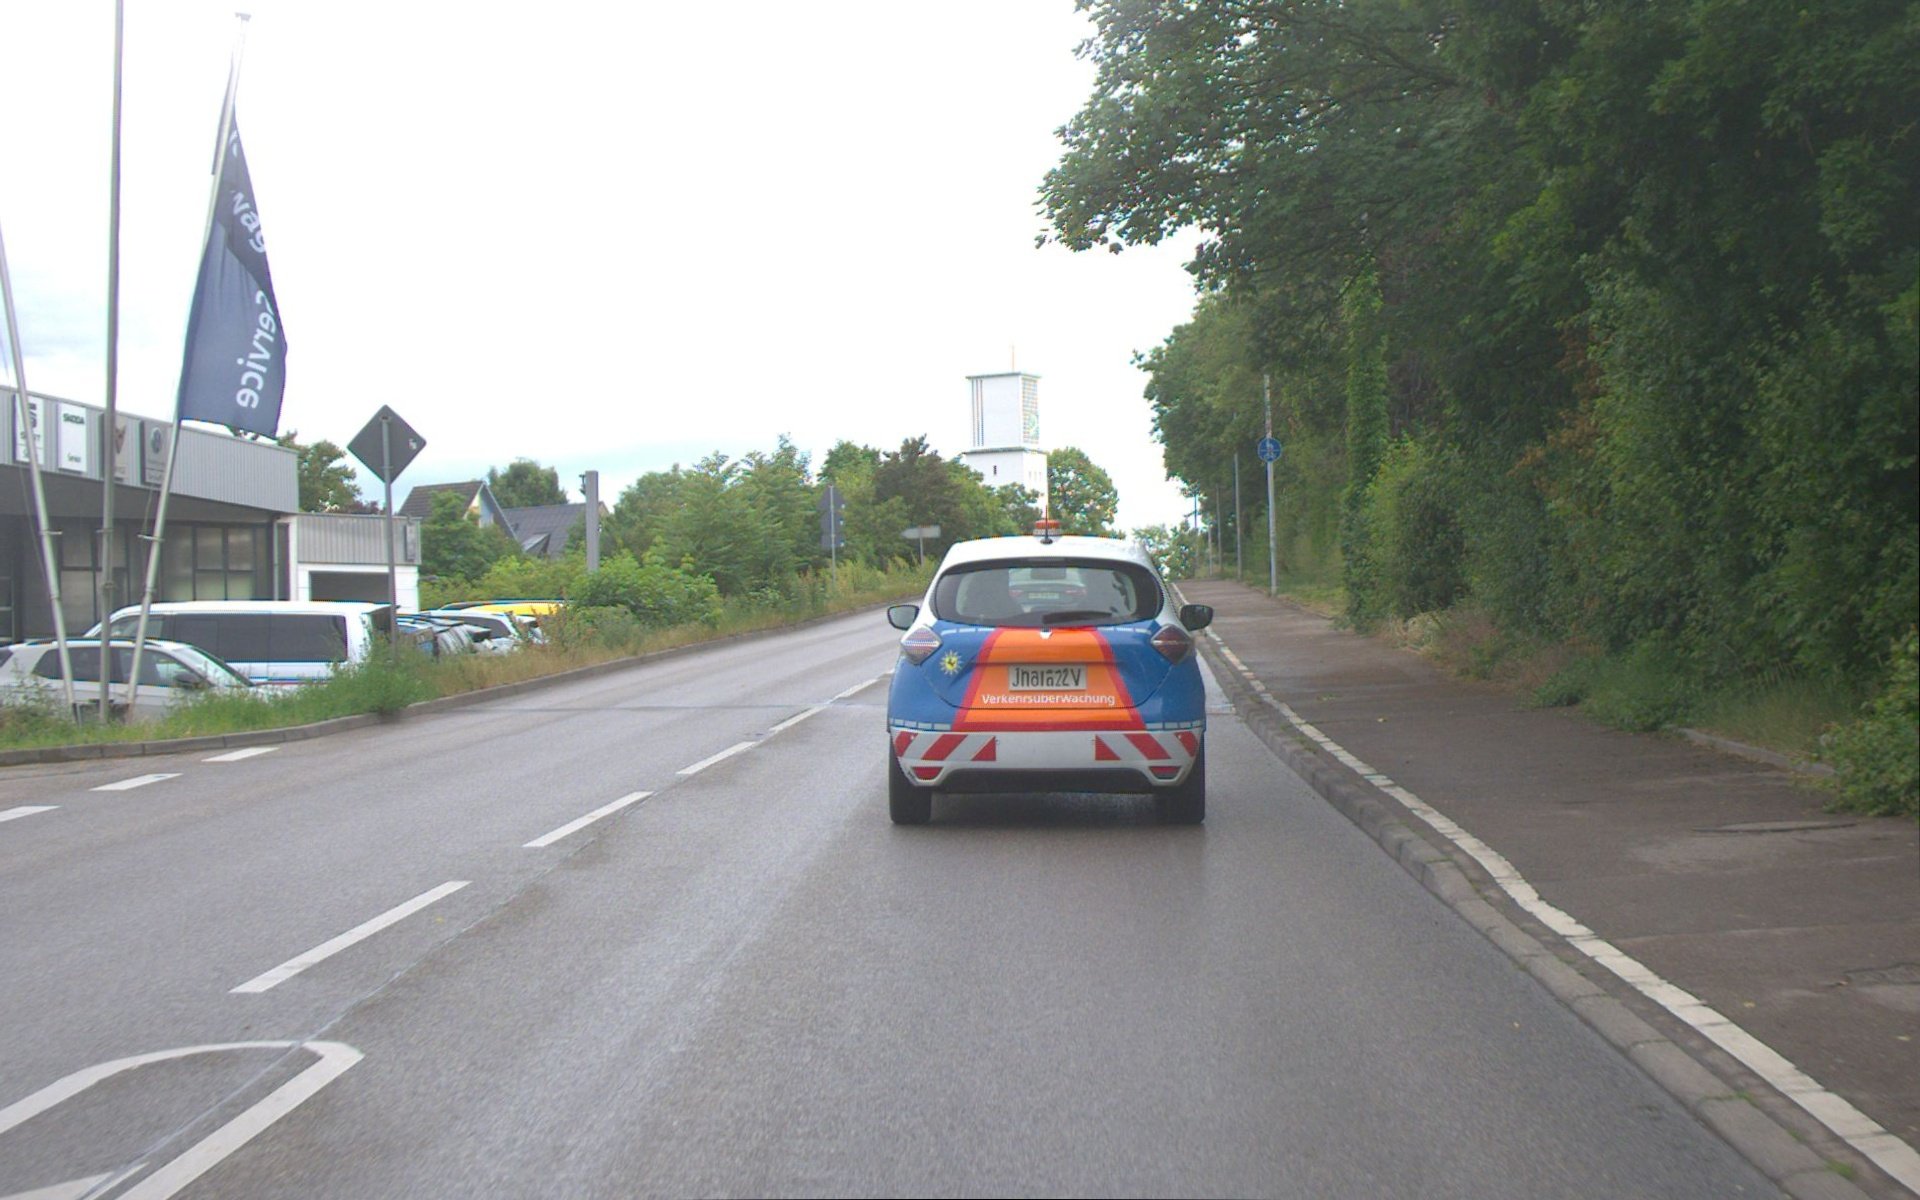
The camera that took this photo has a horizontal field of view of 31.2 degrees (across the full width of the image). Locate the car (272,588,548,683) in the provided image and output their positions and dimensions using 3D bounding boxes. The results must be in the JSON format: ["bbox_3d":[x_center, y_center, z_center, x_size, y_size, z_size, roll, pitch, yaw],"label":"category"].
[{"bbox_3d":[-9.068,0.574,56.894,4.226,1.364,1.875,-2,1,0],"label":"car"}]

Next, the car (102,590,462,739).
[{"bbox_3d":[-9.109,0.847,46.449,4.412,1.791,2.002,-2,1,0],"label":"car"}]

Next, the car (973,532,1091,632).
[{"bbox_3d":[1.210,-0.303,59.166,1.802,1.584,3.563,-2,0,-1],"label":"car"}]

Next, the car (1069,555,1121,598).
[{"bbox_3d":[4.617,-0.797,117.557,1.614,1.402,3.497,-2,0,0],"label":"car"}]

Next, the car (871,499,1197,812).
[{"bbox_3d":[0.473,0.296,19.537,1.657,1.587,3.568,-1,0,3],"label":"car"}]

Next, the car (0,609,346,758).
[{"bbox_3d":[-9.046,0.920,38.300,4.009,1.473,1.824,-2,1,2],"label":"car"}]

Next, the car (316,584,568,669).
[{"bbox_3d":[-8.938,0.452,59.595,4.062,1.286,1.805,-2,1,0],"label":"car"}]

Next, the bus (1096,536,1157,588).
[{"bbox_3d":[10.862,-2.454,225.817,2.910,3.159,11.467,-2,0,-2],"label":"bus"}]

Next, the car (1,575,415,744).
[{"bbox_3d":[-8.886,0.690,40.888,4.412,1.791,1.934,-2,1,2],"label":"car"}]

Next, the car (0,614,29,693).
[{"bbox_3d":[-19.351,1.032,63.731,4.017,1.411,1.949,-1,1,37],"label":"car"}]
